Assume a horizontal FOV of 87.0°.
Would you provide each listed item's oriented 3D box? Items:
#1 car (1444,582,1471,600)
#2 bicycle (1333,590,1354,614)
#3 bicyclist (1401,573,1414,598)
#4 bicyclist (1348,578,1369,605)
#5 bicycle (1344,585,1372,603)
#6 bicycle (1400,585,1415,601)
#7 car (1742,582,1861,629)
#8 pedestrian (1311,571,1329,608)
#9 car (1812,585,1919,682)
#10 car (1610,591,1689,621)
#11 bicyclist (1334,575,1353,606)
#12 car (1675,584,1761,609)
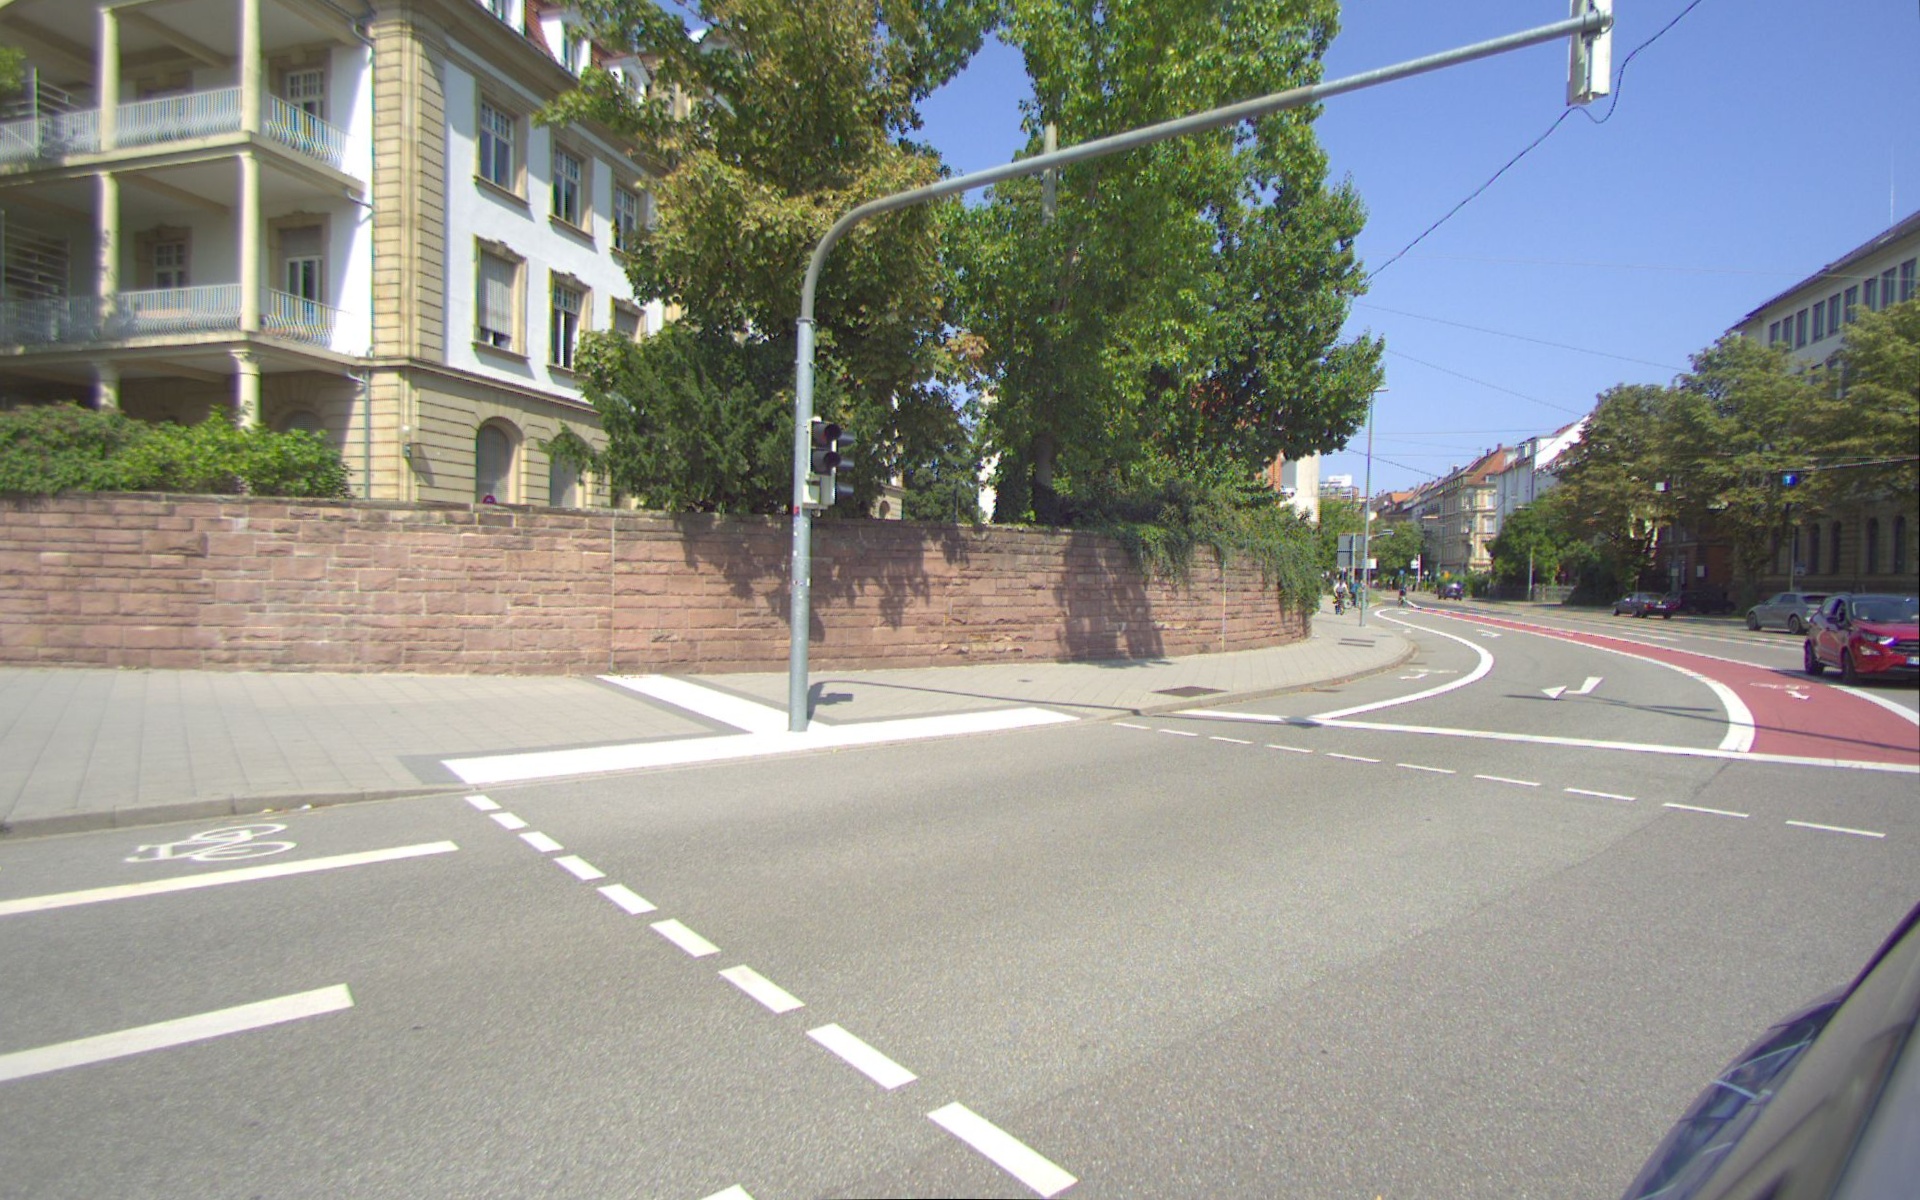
[{"bbox_3d":[47.937,-0.851,97.649,1.673,1.675,3.564,1,1,16],"label":"car"},{"bbox_3d":[18.199,0.082,48.068,0.731,1.062,2.222,1,1,15],"label":"bicycle"},{"bbox_3d":[29.352,-0.967,66.318,0.623,1.618,0.982,2,1,31],"label":"bicyclist"},{"bbox_3d":[24.099,-0.534,61.186,0.885,1.558,0.629,3,2,-31],"label":"bicyclist"},{"bbox_3d":[24.078,-0.333,61.188,1.677,1.012,0.616,2,1,-32],"label":"bicycle"},{"bbox_3d":[29.356,-0.431,66.384,0.611,1.012,1.692,3,1,31],"label":"bicycle"},{"bbox_3d":[31.733,0.153,38.339,1.754,1.630,4.648,2,2,17],"label":"car"},{"bbox_3d":[16.657,-0.500,46.874,0.720,1.686,0.874,1,1,18],"label":"pedestrian"},{"bbox_3d":[16.888,0.545,18.100,1.802,1.570,3.979,1,1,30],"label":"car"},{"bbox_3d":[36.352,0.300,53.482,1.666,1.395,4.605,2,2,10],"label":"car"},{"bbox_3d":[18.187,-0.468,47.996,0.737,1.429,0.957,1,1,16],"label":"bicyclist"},{"bbox_3d":[47.167,-0.230,62.990,4.337,1.480,1.825,0,1,-11],"label":"car"}]
